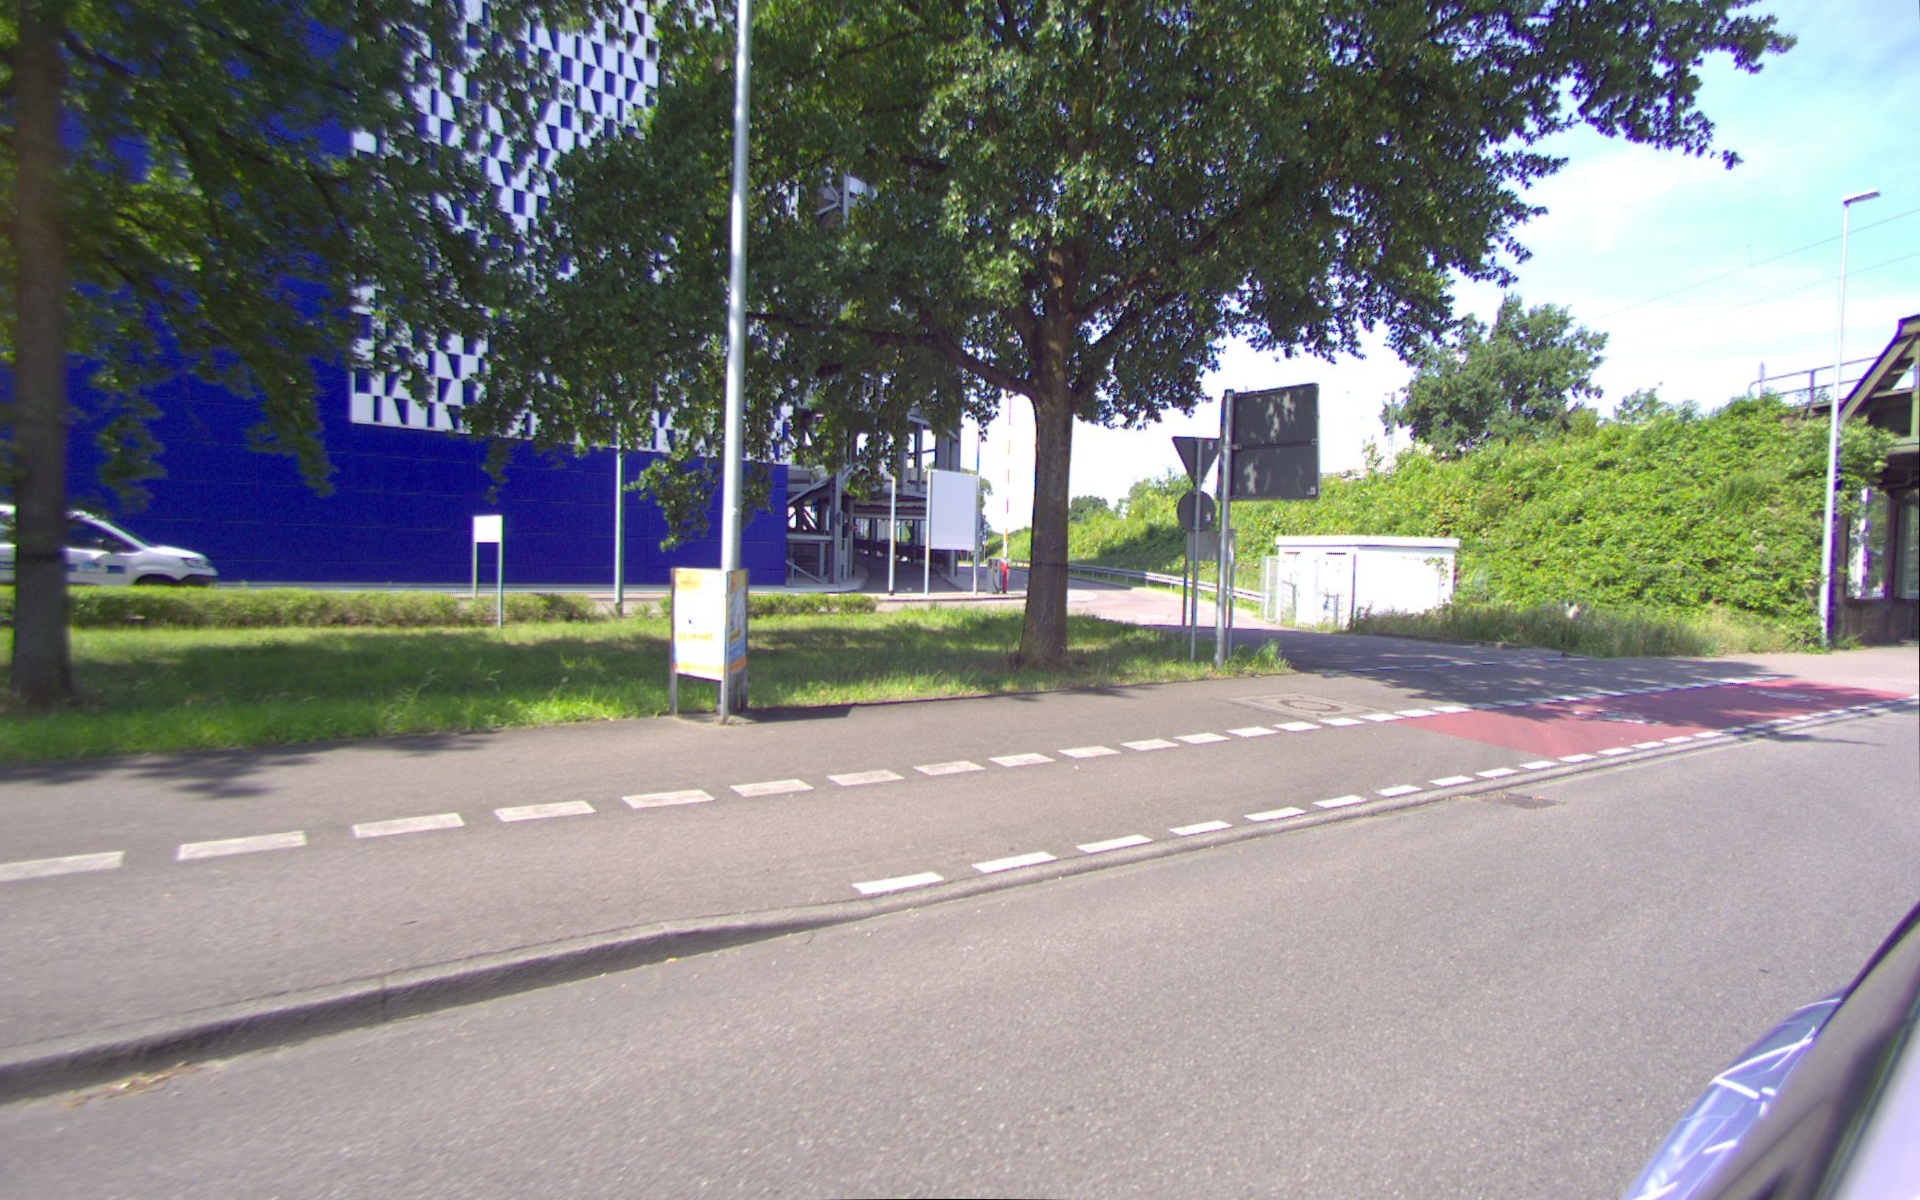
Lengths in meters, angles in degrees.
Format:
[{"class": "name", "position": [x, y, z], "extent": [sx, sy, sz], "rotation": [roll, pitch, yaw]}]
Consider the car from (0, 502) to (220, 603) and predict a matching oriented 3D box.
[{"class": "car", "position": [-15.629, -0.801, 17.773], "extent": [4.225, 1.659, 1.856], "rotation": [0, 1, -37]}]
